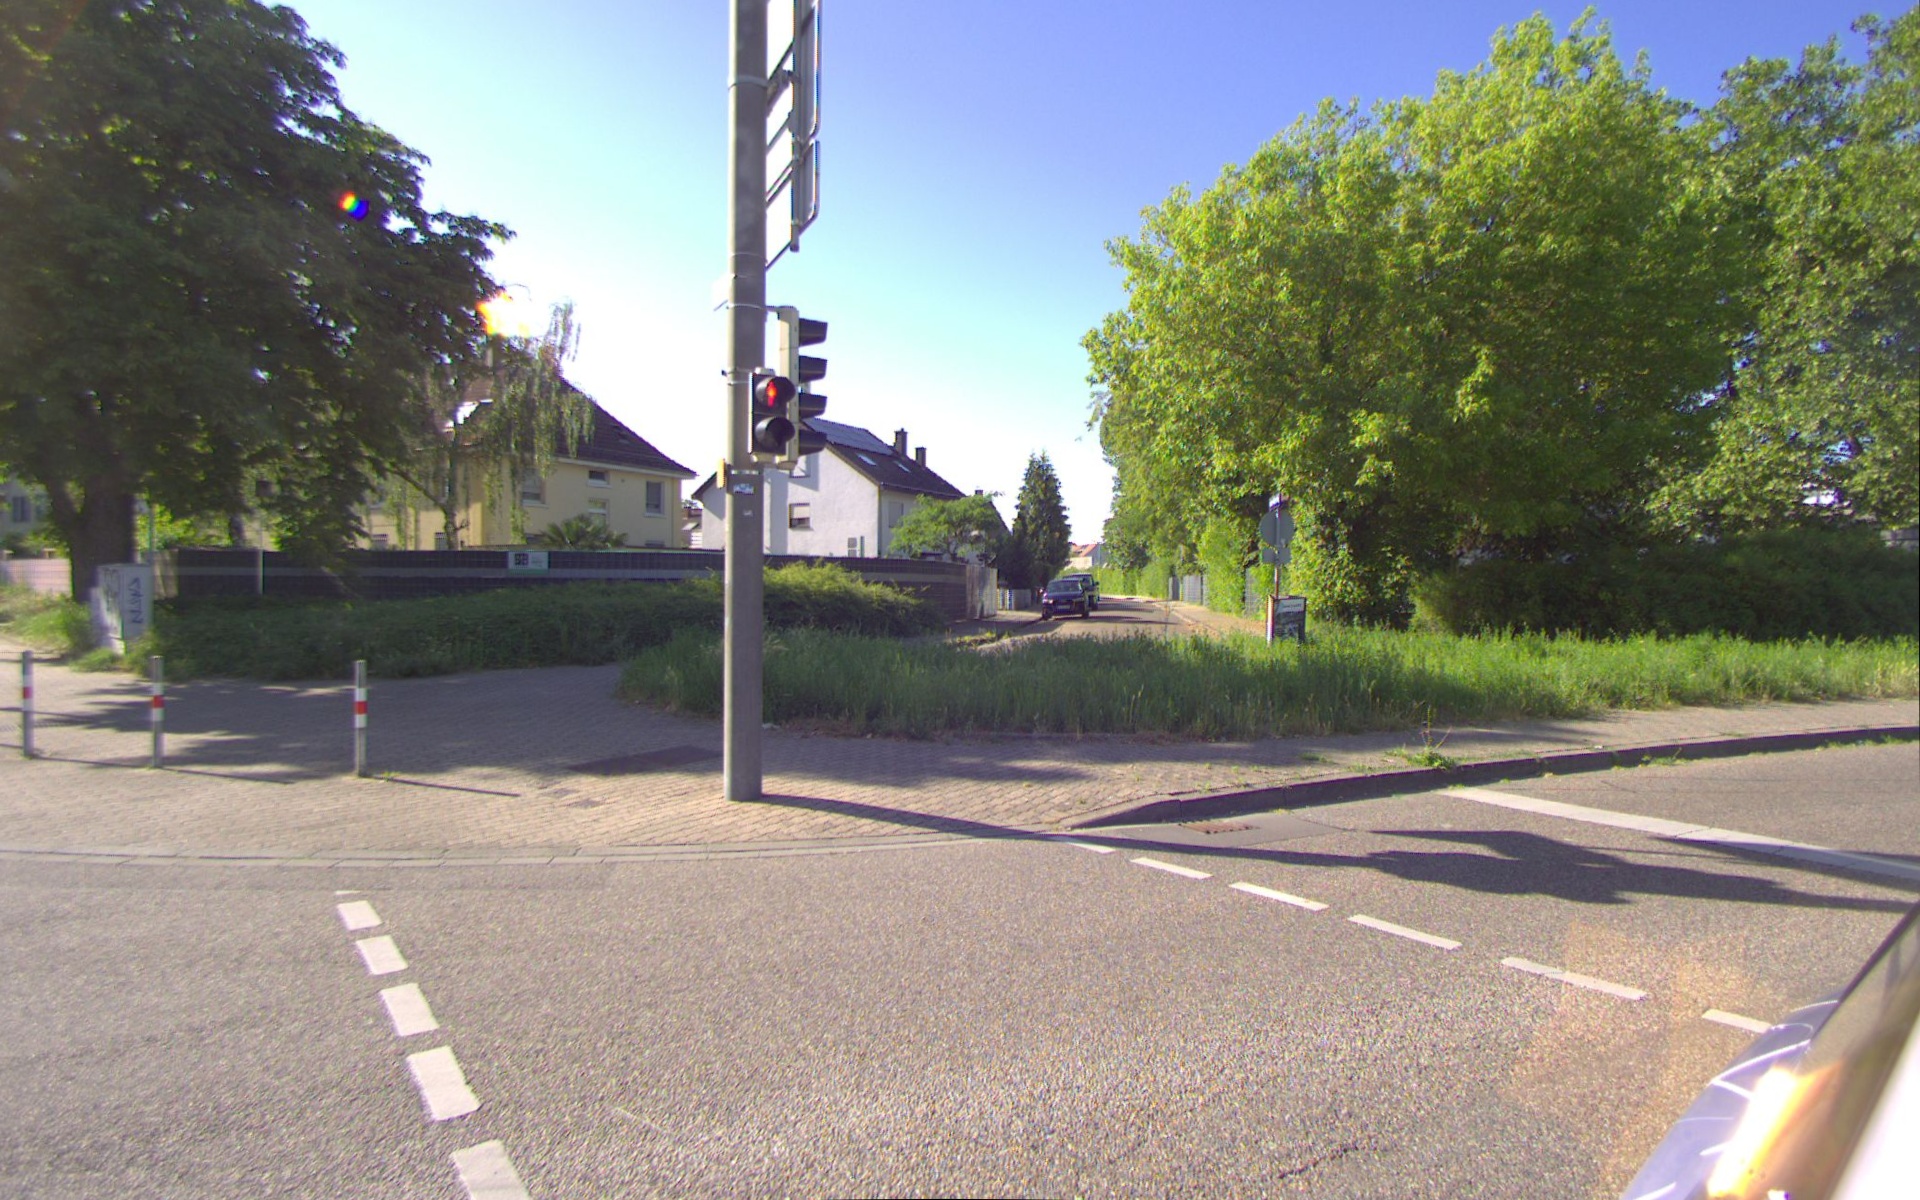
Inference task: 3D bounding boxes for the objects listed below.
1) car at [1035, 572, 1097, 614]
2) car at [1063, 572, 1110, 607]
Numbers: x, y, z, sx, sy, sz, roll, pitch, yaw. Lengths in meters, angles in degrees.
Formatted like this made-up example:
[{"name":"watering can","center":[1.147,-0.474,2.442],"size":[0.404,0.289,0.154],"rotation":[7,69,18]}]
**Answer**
[{"name":"car","center":[4.243,-0.285,40.000],"size":[1.970,1.576,3.984],"rotation":[-1,1,13]},{"name":"car","center":[6.506,-0.528,51.798],"size":[1.934,1.687,3.984],"rotation":[-1,1,13]}]
